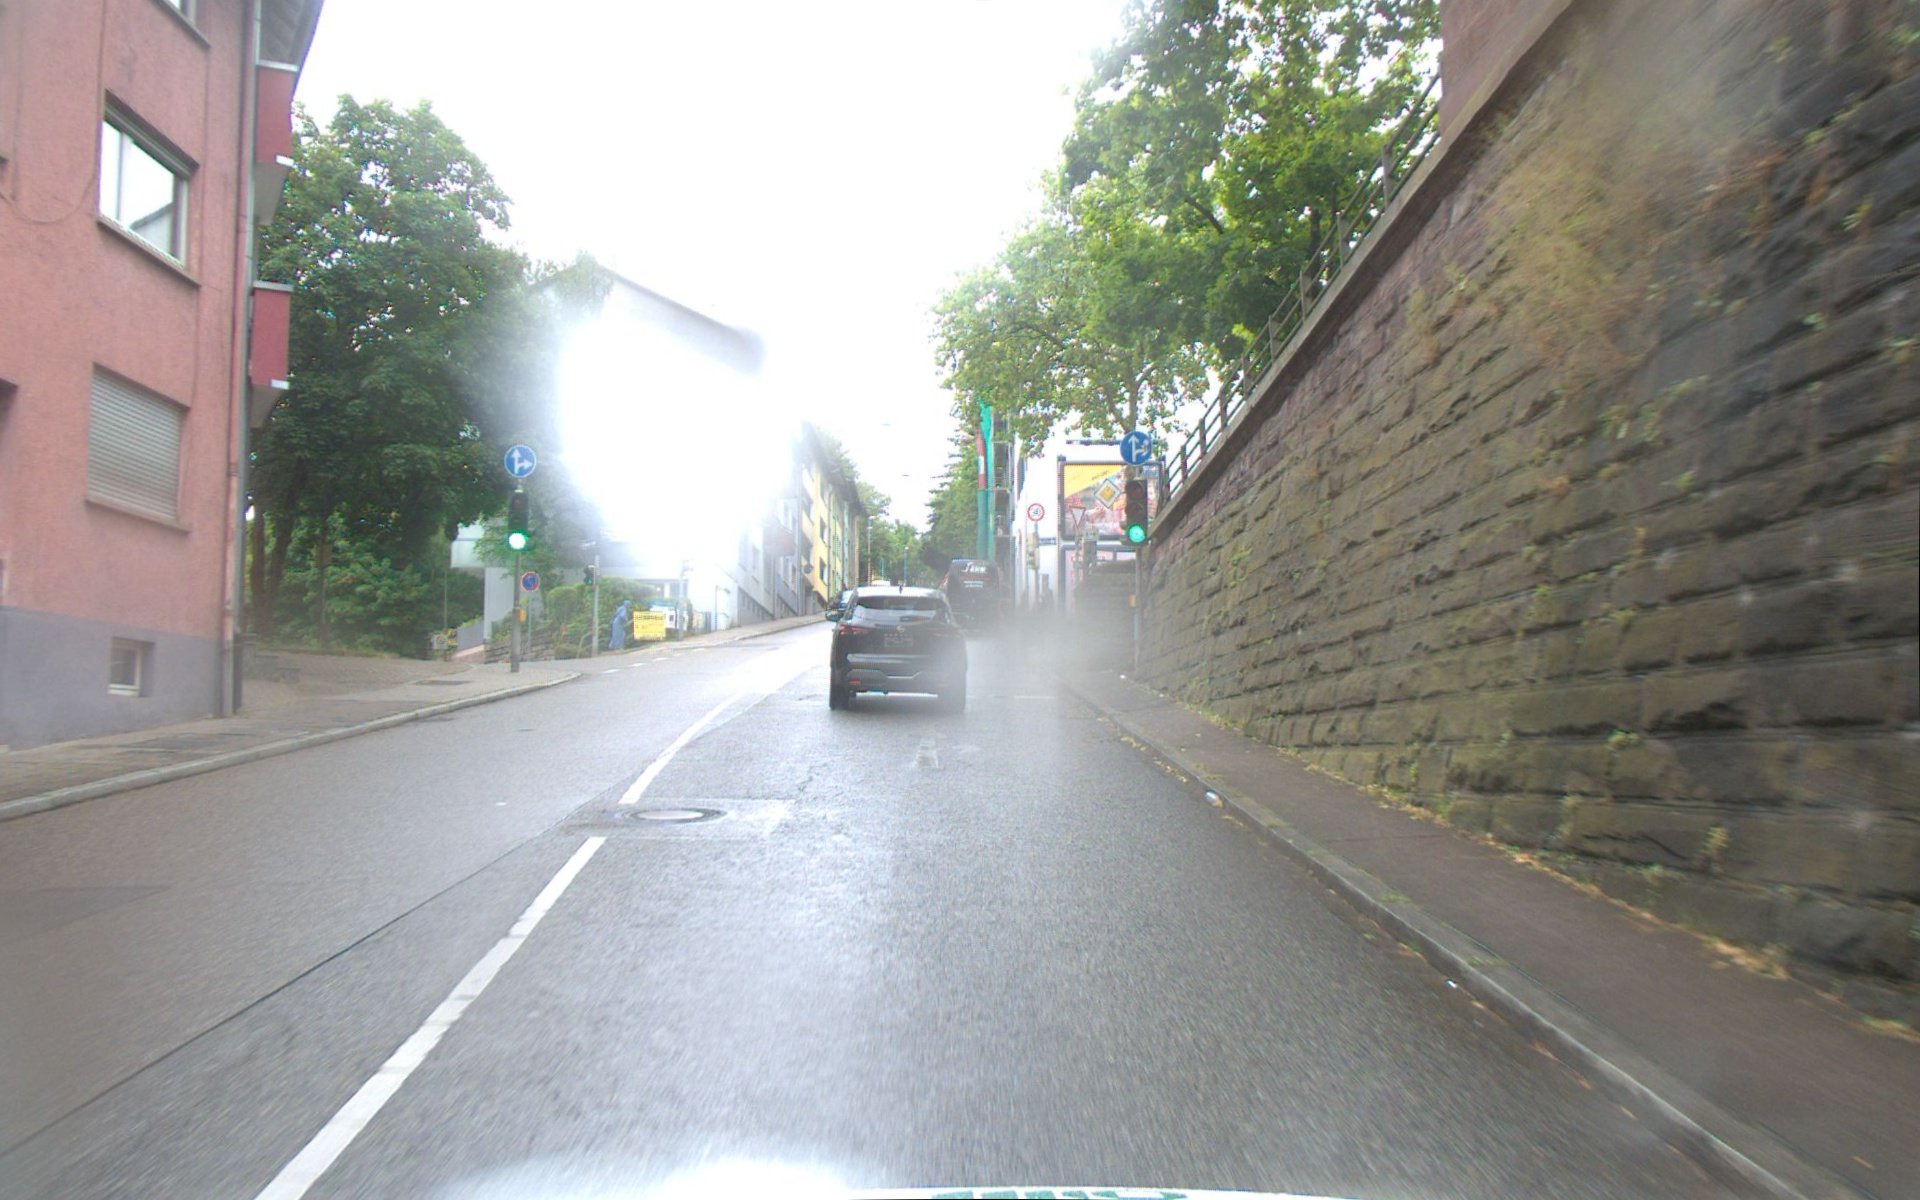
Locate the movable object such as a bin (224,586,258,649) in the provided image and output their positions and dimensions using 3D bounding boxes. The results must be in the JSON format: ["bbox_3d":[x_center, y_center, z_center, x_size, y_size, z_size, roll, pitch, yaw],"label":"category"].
[{"bbox_3d":[-14.329,0.351,32.956,0.553,1.221,0.683,2,-2,-27],"label":"movable object such as a bin"}]

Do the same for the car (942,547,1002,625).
[{"bbox_3d":[0.420,-0.425,58.225,1.953,2.456,5.835,1,-2,0],"label":"car"}]

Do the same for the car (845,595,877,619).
[{"bbox_3d":[-7.297,0.506,121.839,1.952,1.679,4.442,0,1,1],"label":"car"}]

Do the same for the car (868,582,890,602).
[{"bbox_3d":[-7.418,-0.714,151.350,1.950,1.786,4.478,0,1,-2],"label":"car"}]

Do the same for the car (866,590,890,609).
[{"bbox_3d":[-7.175,-0.085,144.990,1.950,1.613,4.304,0,1,-2],"label":"car"}]

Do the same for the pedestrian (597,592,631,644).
[{"bbox_3d":[-10.657,0.571,50.984,0.852,1.568,1.086,2,-2,-4],"label":"pedestrian"}]

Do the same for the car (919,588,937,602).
[{"bbox_3d":[-3.699,-0.628,191.744,2.033,1.587,3.999,1,0,-2],"label":"car"}]

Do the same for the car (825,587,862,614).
[{"bbox_3d":[-7.388,-0.004,105.475,1.952,1.679,4.442,0,1,1],"label":"car"}]

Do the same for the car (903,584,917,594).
[{"bbox_3d":[-7.537,-1.639,247.383,2.033,1.587,3.999,1,0,-2],"label":"car"}]

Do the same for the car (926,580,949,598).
[{"bbox_3d":[-2.084,-1.000,152.533,2.033,1.587,3.998,1,0,-2],"label":"car"}]

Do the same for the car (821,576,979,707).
[{"bbox_3d":[-0.783,0.493,22.846,1.953,1.586,4.000,1,1,-1],"label":"car"}]

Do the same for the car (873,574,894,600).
[{"bbox_3d":[-7.407,-1.289,161.137,1.950,2.518,5.782,0,1,-2],"label":"car"}]

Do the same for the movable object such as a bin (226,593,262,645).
[{"bbox_3d":[-14.529,0.386,33.562,0.620,1.034,0.496,2,-2,-26],"label":"movable object such as a bin"}]
